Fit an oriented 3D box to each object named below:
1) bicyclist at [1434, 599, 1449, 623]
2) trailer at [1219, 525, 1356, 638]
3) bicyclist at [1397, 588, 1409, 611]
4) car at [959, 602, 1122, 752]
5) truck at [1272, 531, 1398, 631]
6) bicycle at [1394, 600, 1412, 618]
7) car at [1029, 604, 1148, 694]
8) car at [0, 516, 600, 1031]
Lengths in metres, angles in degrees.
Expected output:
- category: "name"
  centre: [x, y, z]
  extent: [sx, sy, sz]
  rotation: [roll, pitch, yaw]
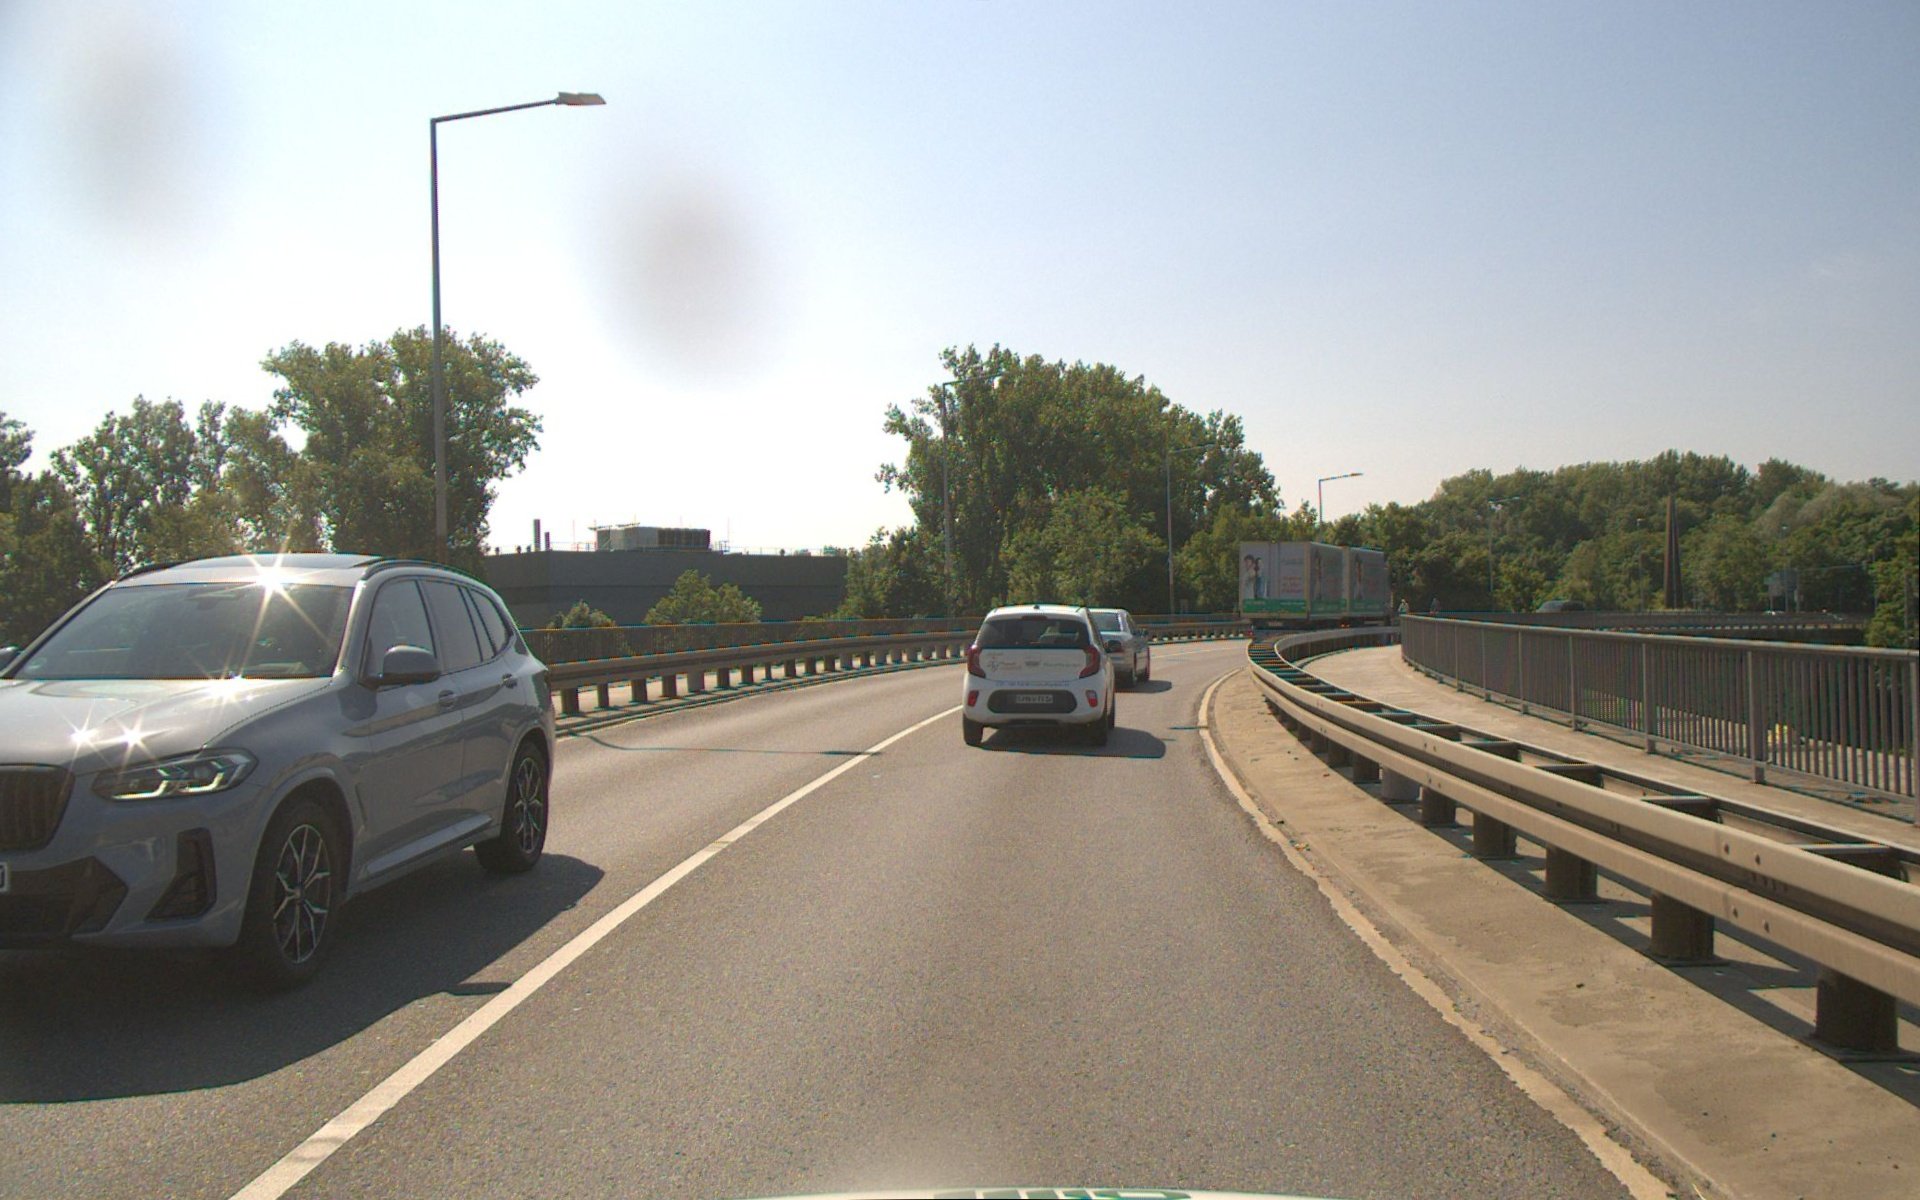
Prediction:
- category: "bicyclist"
  centre: [30.330, 0.688, 104.174]
  extent: [0.649, 1.522, 1.013]
  rotation: [1, 2, 35]
- category: "trailer"
  centre: [12.174, -0.712, 60.831]
  extent: [3.160, 3.823, 7.820]
  rotation: [2, 2, 24]
- category: "bicyclist"
  centre: [27.441, -0.034, 102.505]
  extent: [0.479, 1.352, 0.944]
  rotation: [0, -1, 31]
- category: "car"
  centre: [1.015, 0.818, 19.302]
  extent: [1.666, 1.520, 4.002]
  rotation: [1, 0, 5]
- category: "truck"
  centre: [15.553, -0.808, 68.079]
  extent: [3.196, 3.823, 8.363]
  rotation: [2, 2, 26]
- category: "bicycle"
  centre: [27.455, 0.529, 102.561]
  extent: [0.563, 1.065, 1.705]
  rotation: [-2, -1, 32]
- category: "car"
  centre: [2.486, 0.850, 30.919]
  extent: [1.897, 1.512, 4.904]
  rotation: [1, 0, 8]
- category: "car"
  centre: [-3.253, 0.605, 7.844]
  extent: [1.819, 1.712, 4.475]
  rotation: [1, -1, 4]
